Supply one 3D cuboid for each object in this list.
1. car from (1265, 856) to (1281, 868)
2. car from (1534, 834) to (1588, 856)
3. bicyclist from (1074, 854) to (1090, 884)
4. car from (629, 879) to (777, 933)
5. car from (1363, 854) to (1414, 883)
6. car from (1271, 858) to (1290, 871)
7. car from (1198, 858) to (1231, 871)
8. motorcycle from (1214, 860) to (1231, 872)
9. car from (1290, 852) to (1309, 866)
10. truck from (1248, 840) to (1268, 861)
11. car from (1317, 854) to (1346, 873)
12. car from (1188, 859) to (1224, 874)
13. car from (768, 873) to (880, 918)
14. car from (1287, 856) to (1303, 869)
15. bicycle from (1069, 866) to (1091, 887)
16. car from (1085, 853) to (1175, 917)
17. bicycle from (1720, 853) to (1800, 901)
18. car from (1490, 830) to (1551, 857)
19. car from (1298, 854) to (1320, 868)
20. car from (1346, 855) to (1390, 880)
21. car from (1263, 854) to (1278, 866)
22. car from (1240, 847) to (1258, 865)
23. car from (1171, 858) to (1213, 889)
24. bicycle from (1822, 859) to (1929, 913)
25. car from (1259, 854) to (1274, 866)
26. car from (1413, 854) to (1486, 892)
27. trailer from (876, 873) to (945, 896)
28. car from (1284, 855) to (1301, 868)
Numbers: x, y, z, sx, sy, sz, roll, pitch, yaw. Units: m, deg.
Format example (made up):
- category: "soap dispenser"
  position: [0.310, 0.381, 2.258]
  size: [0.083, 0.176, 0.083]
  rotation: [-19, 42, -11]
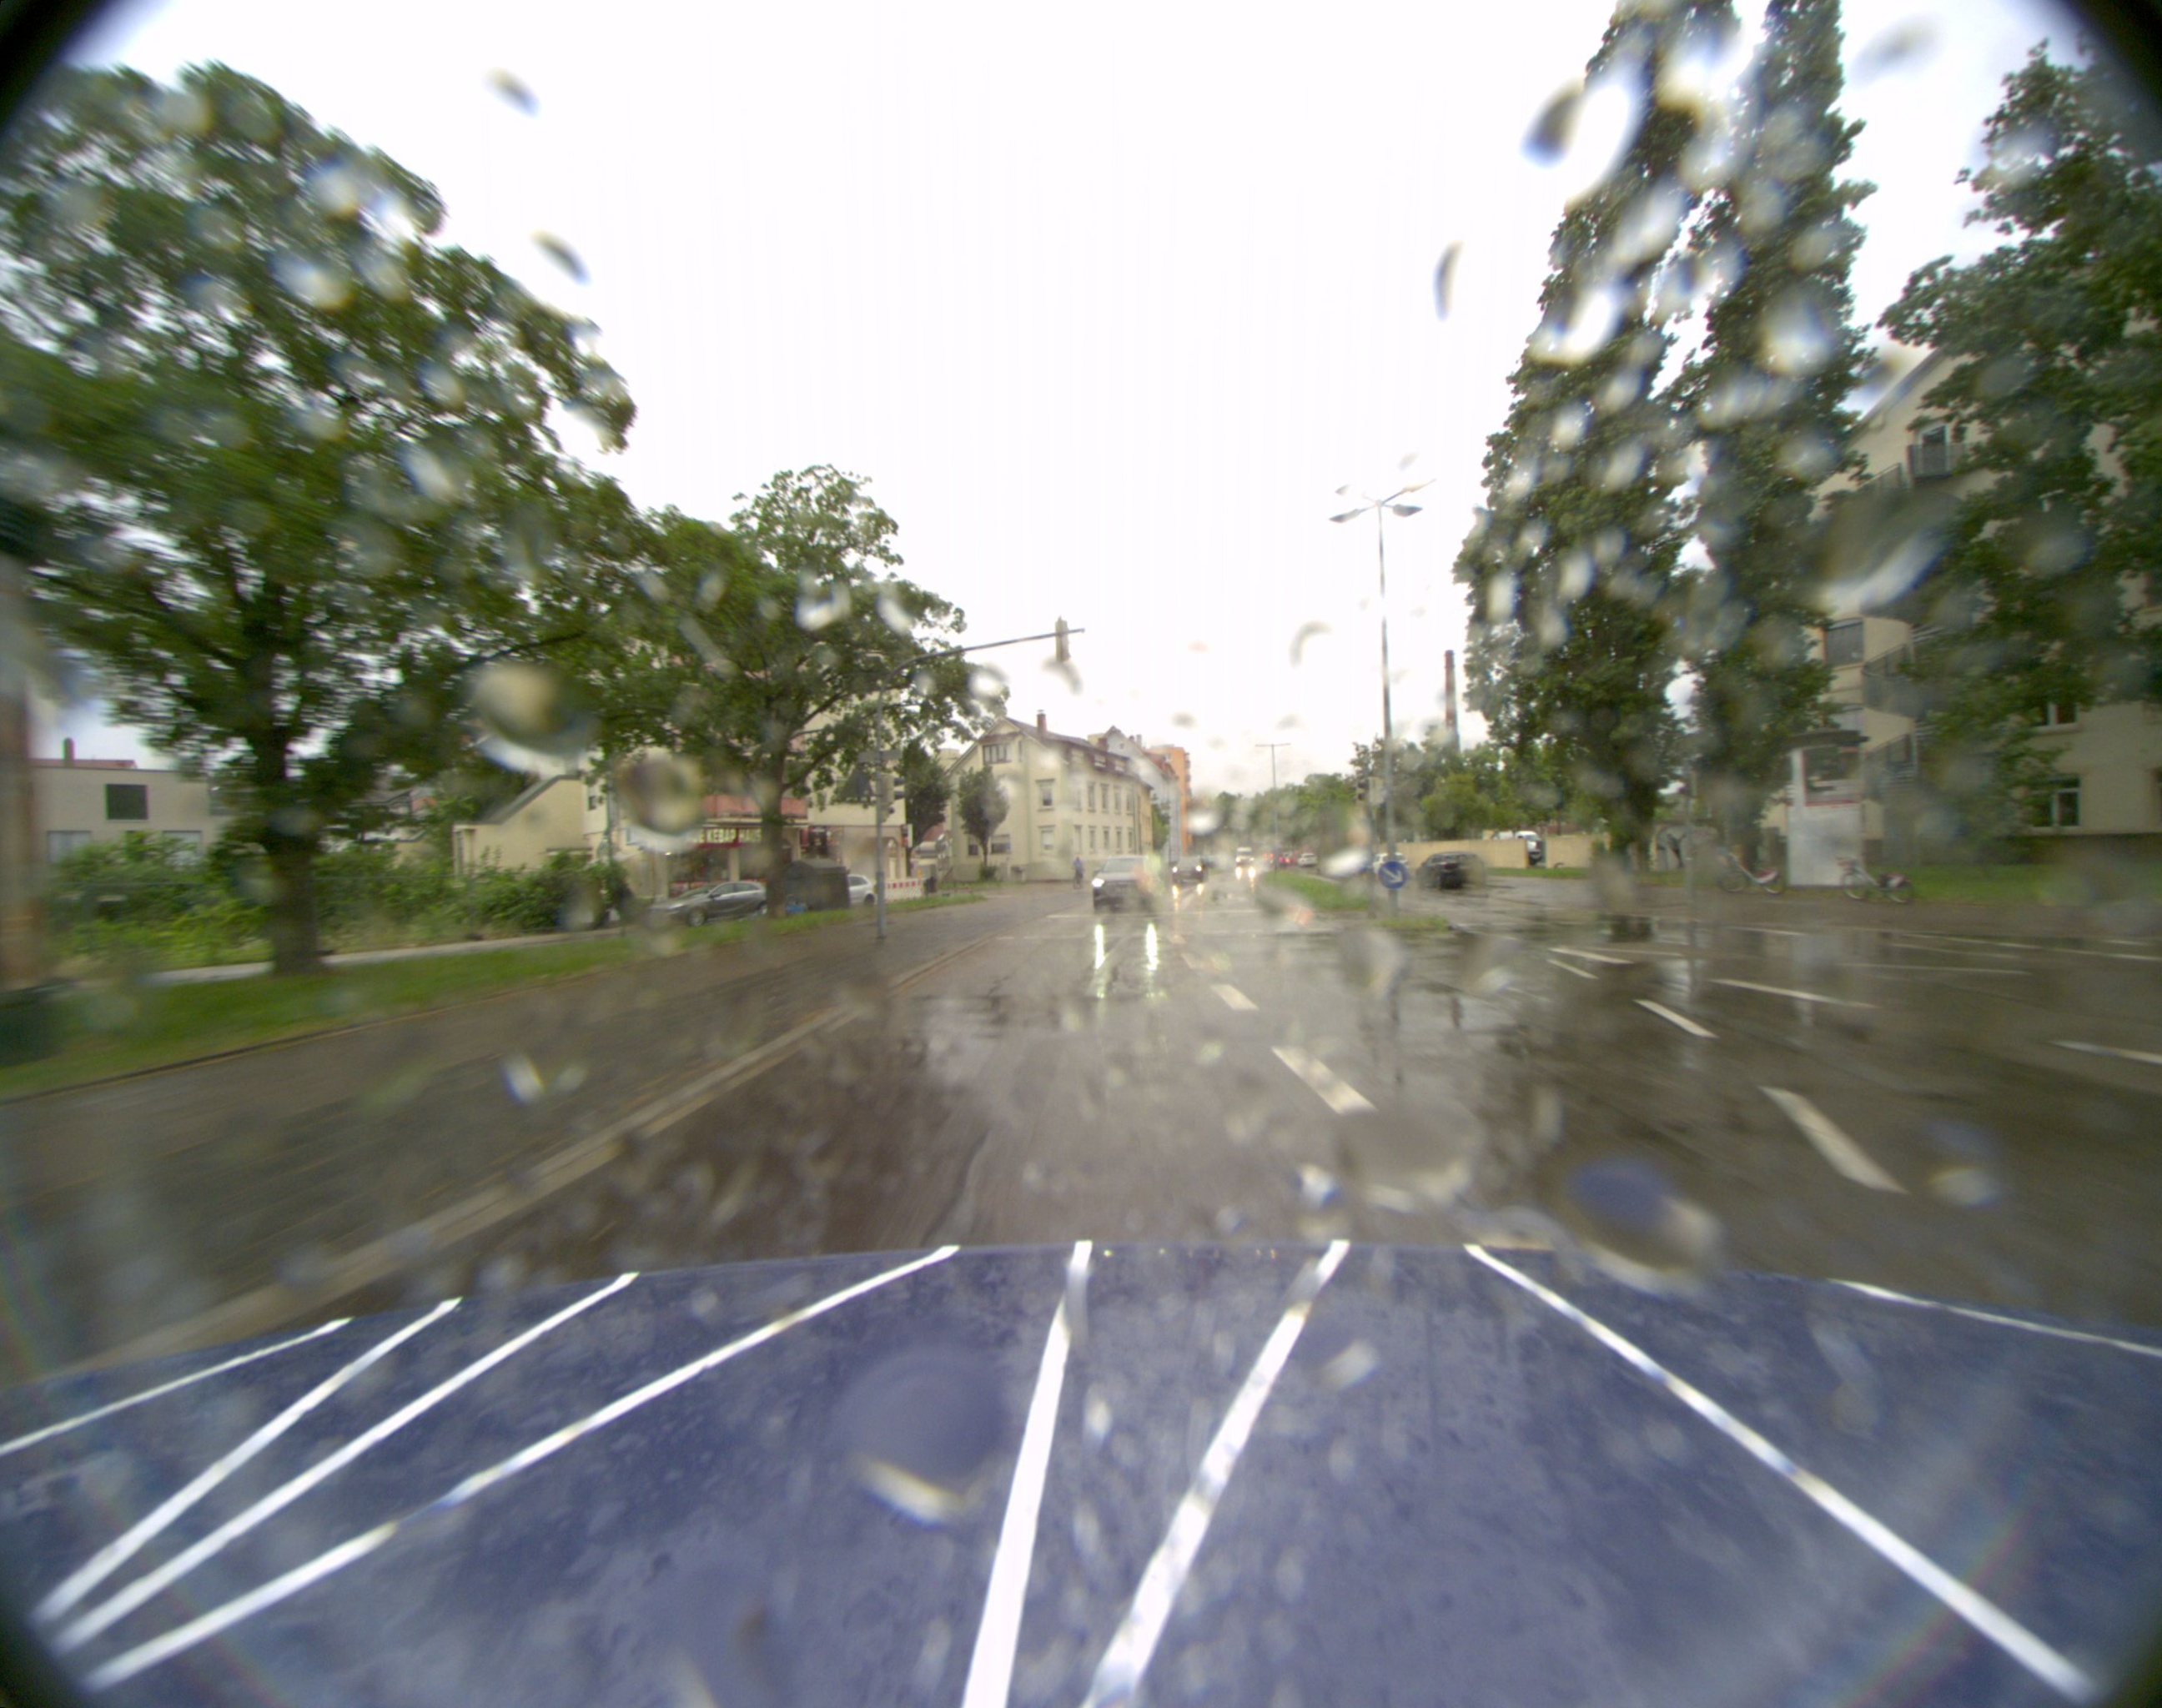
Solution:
- category: "car"
  position: [24.673, 0.981, 97.785]
  size: [1.709, 1.492, 3.949]
  rotation: [0, 0, 10]
- category: "car"
  position: [46.682, -0.842, 73.963]
  size: [2.001, 2.002, 3.994]
  rotation: [-3, 0, -19]
- category: "bicyclist"
  position: [0.076, 0.801, 41.178]
  size: [0.639, 1.573, 0.716]
  rotation: [-3, -1, 15]
- category: "car"
  position: [-12.295, 1.656, 25.031]
  size: [1.699, 1.425, 4.163]
  rotation: [-3, 0, 24]
- category: "car"
  position: [17.186, 0.778, 42.620]
  size: [1.605, 1.465, 4.125]
  rotation: [-3, 0, 8]
- category: "car"
  position: [22.079, 1.173, 84.128]
  size: [1.730, 1.385, 3.953]
  rotation: [0, 0, 9]
- category: "car"
  position: [17.752, 1.362, 100.705]
  size: [4.167, 1.468, 1.652]
  rotation: [-3, 0, 12]
- category: "motorcycle"
  position: [16.104, 1.361, 86.541]
  size: [1.765, 1.365, 0.735]
  rotation: [-3, 0, 12]
- category: "car"
  position: [26.129, 0.574, 90.834]
  size: [1.627, 1.588, 3.800]
  rotation: [-3, 0, 8]
- category: "truck"
  position: [39.611, -0.874, 170.521]
  size: [3.829, 4.359, 10.795]
  rotation: [-3, 0, 12]
- category: "car"
  position: [20.678, 0.771, 62.813]
  size: [1.699, 1.436, 4.100]
  rotation: [-3, 0, 10]
- category: "car"
  position: [13.440, 1.358, 81.584]
  size: [3.757, 1.445, 1.803]
  rotation: [-3, -2, 12]
- category: "car"
  position: [-9.837, 1.574, 29.431]
  size: [1.636, 1.425, 4.183]
  rotation: [-3, 0, 24]
- category: "car"
  position: [26.998, 1.064, 96.136]
  size: [1.693, 1.445, 3.722]
  rotation: [-3, 0, 13]
- category: "bicycle"
  position: [-0.042, 1.201, 41.001]
  size: [0.673, 1.053, 1.974]
  rotation: [-3, -1, 15]
- category: "car"
  position: [1.623, 0.883, 23.537]
  size: [1.959, 1.701, 4.179]
  rotation: [-3, 0, 14]
- category: "bicycle"
  position: [17.724, 0.584, 19.887]
  size: [0.699, 1.179, 1.625]
  rotation: [-3, 0, 5]
- category: "car"
  position: [41.882, -0.958, 72.459]
  size: [2.151, 2.382, 4.713]
  rotation: [-3, 0, -18]
- category: "car"
  position: [24.808, 0.747, 82.738]
  size: [1.777, 1.451, 4.684]
  rotation: [-3, 0, 10]
- category: "car"
  position: [18.168, 0.797, 48.300]
  size: [1.730, 1.374, 4.183]
  rotation: [-4, 0, 9]
- category: "car"
  position: [28.424, 0.878, 114.128]
  size: [2.069, 1.731, 4.178]
  rotation: [-3, 0, 13]
- category: "car"
  position: [22.572, 0.213, 102.198]
  size: [2.192, 2.242, 4.889]
  rotation: [-3, 0, 12]
- category: "car"
  position: [6.567, 1.102, 44.710]
  size: [1.830, 1.619, 4.004]
  rotation: [-3, 0, 16]
- category: "bicycle"
  position: [17.318, 0.672, 16.621]
  size: [0.556, 1.070, 1.796]
  rotation: [-3, 0, 5]
- category: "car"
  position: [29.348, 0.927, 120.108]
  size: [2.069, 1.731, 4.178]
  rotation: [-3, 0, 12]
- category: "car"
  position: [15.277, 0.736, 31.724]
  size: [1.547, 1.389, 4.197]
  rotation: [-4, 0, 9]
- category: "trailer"
  position: [-10.238, 1.817, 45.416]
  size: [4.522, 1.224, 1.828]
  rotation: [-3, 0, 44]
- category: "car"
  position: [28.803, 0.988, 103.716]
  size: [1.880, 1.672, 4.041]
  rotation: [-3, 0, 12]
